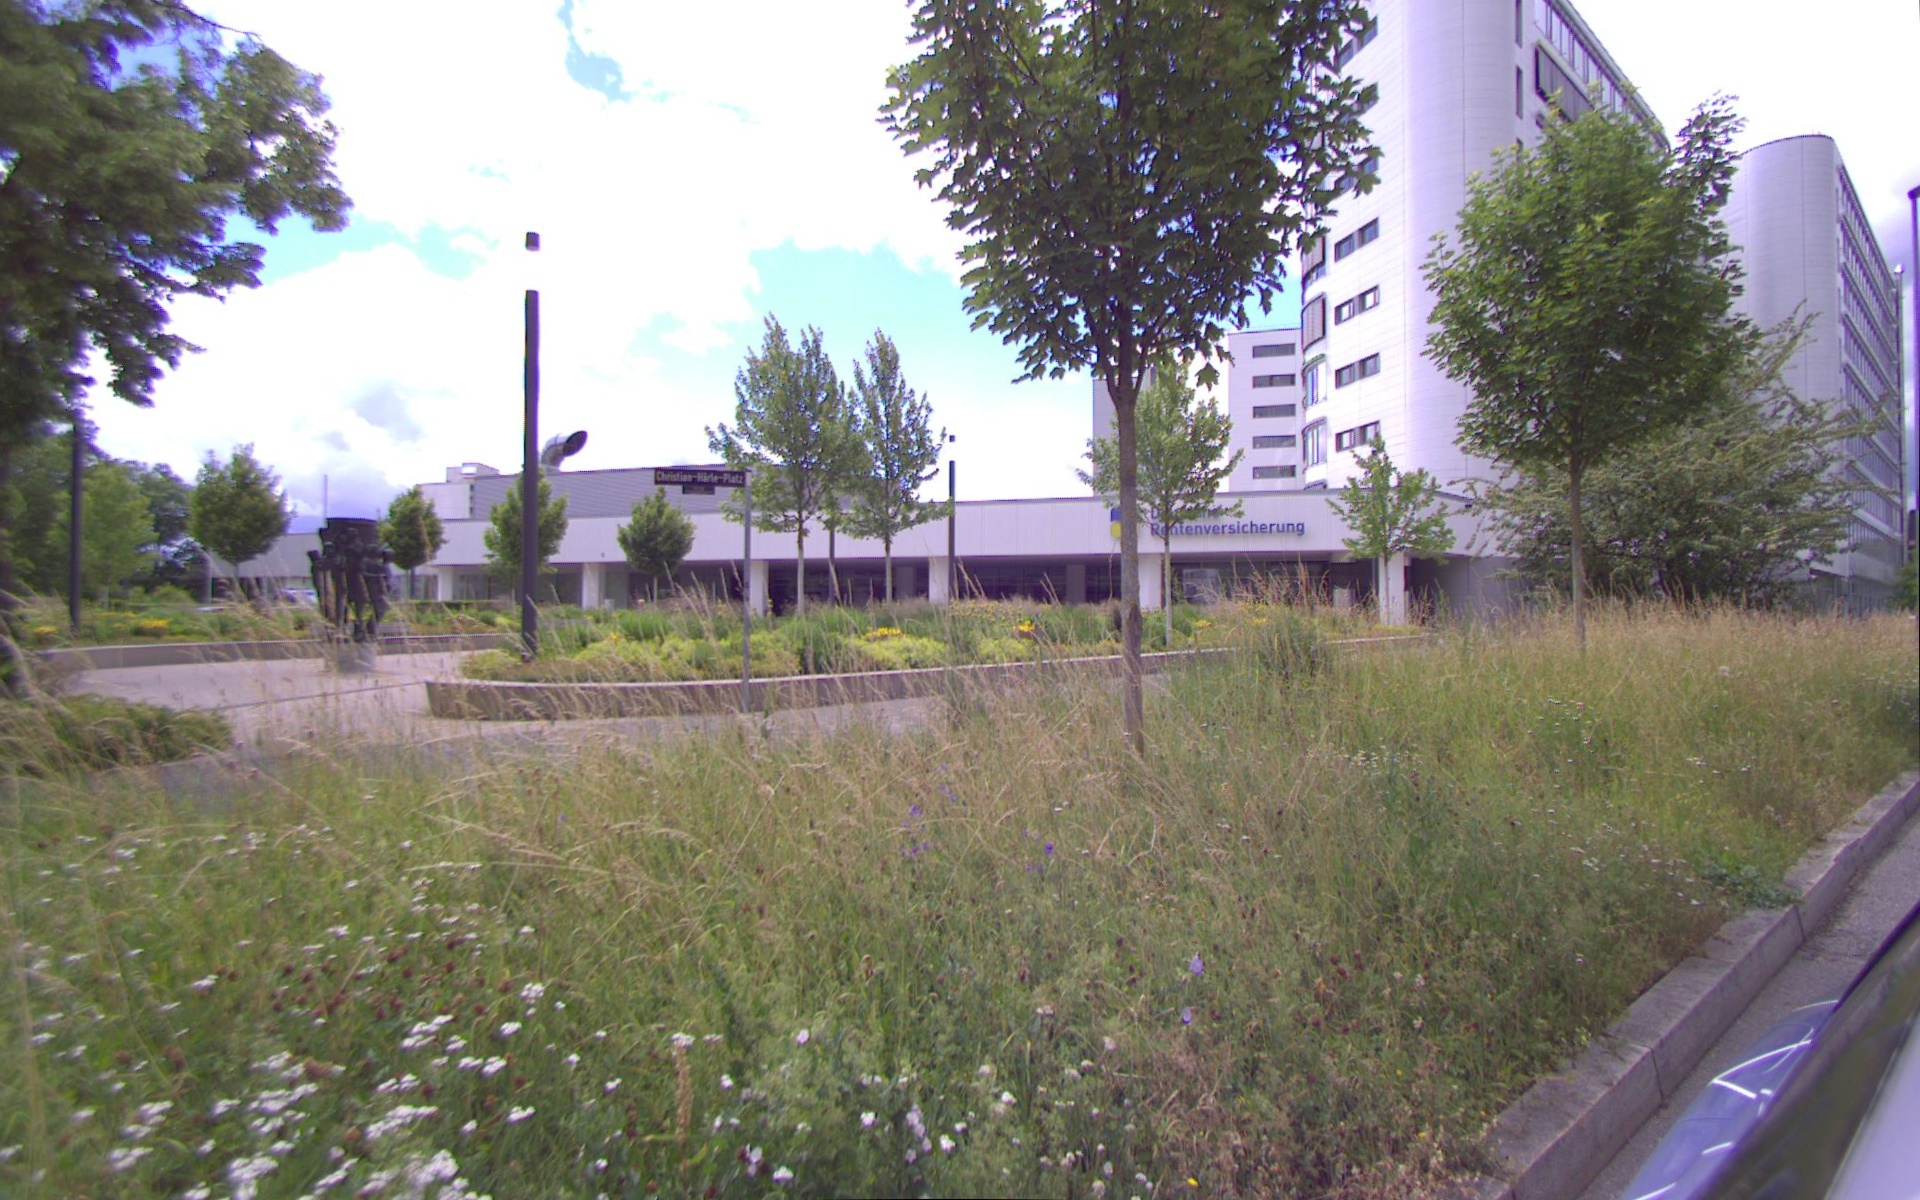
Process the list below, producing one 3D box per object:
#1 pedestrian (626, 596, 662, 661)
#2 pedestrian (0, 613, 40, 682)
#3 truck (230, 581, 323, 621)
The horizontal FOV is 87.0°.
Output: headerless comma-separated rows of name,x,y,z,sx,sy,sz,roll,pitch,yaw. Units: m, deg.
pedestrian,-8.167,0.733,26.175,0.756,1.646,0.765,0,0,-8
pedestrian,-17.448,0.859,18.668,0.621,1.238,0.620,1,0,-36
truck,-36.164,0.058,53.570,3.941,2.039,1.991,1,0,14
